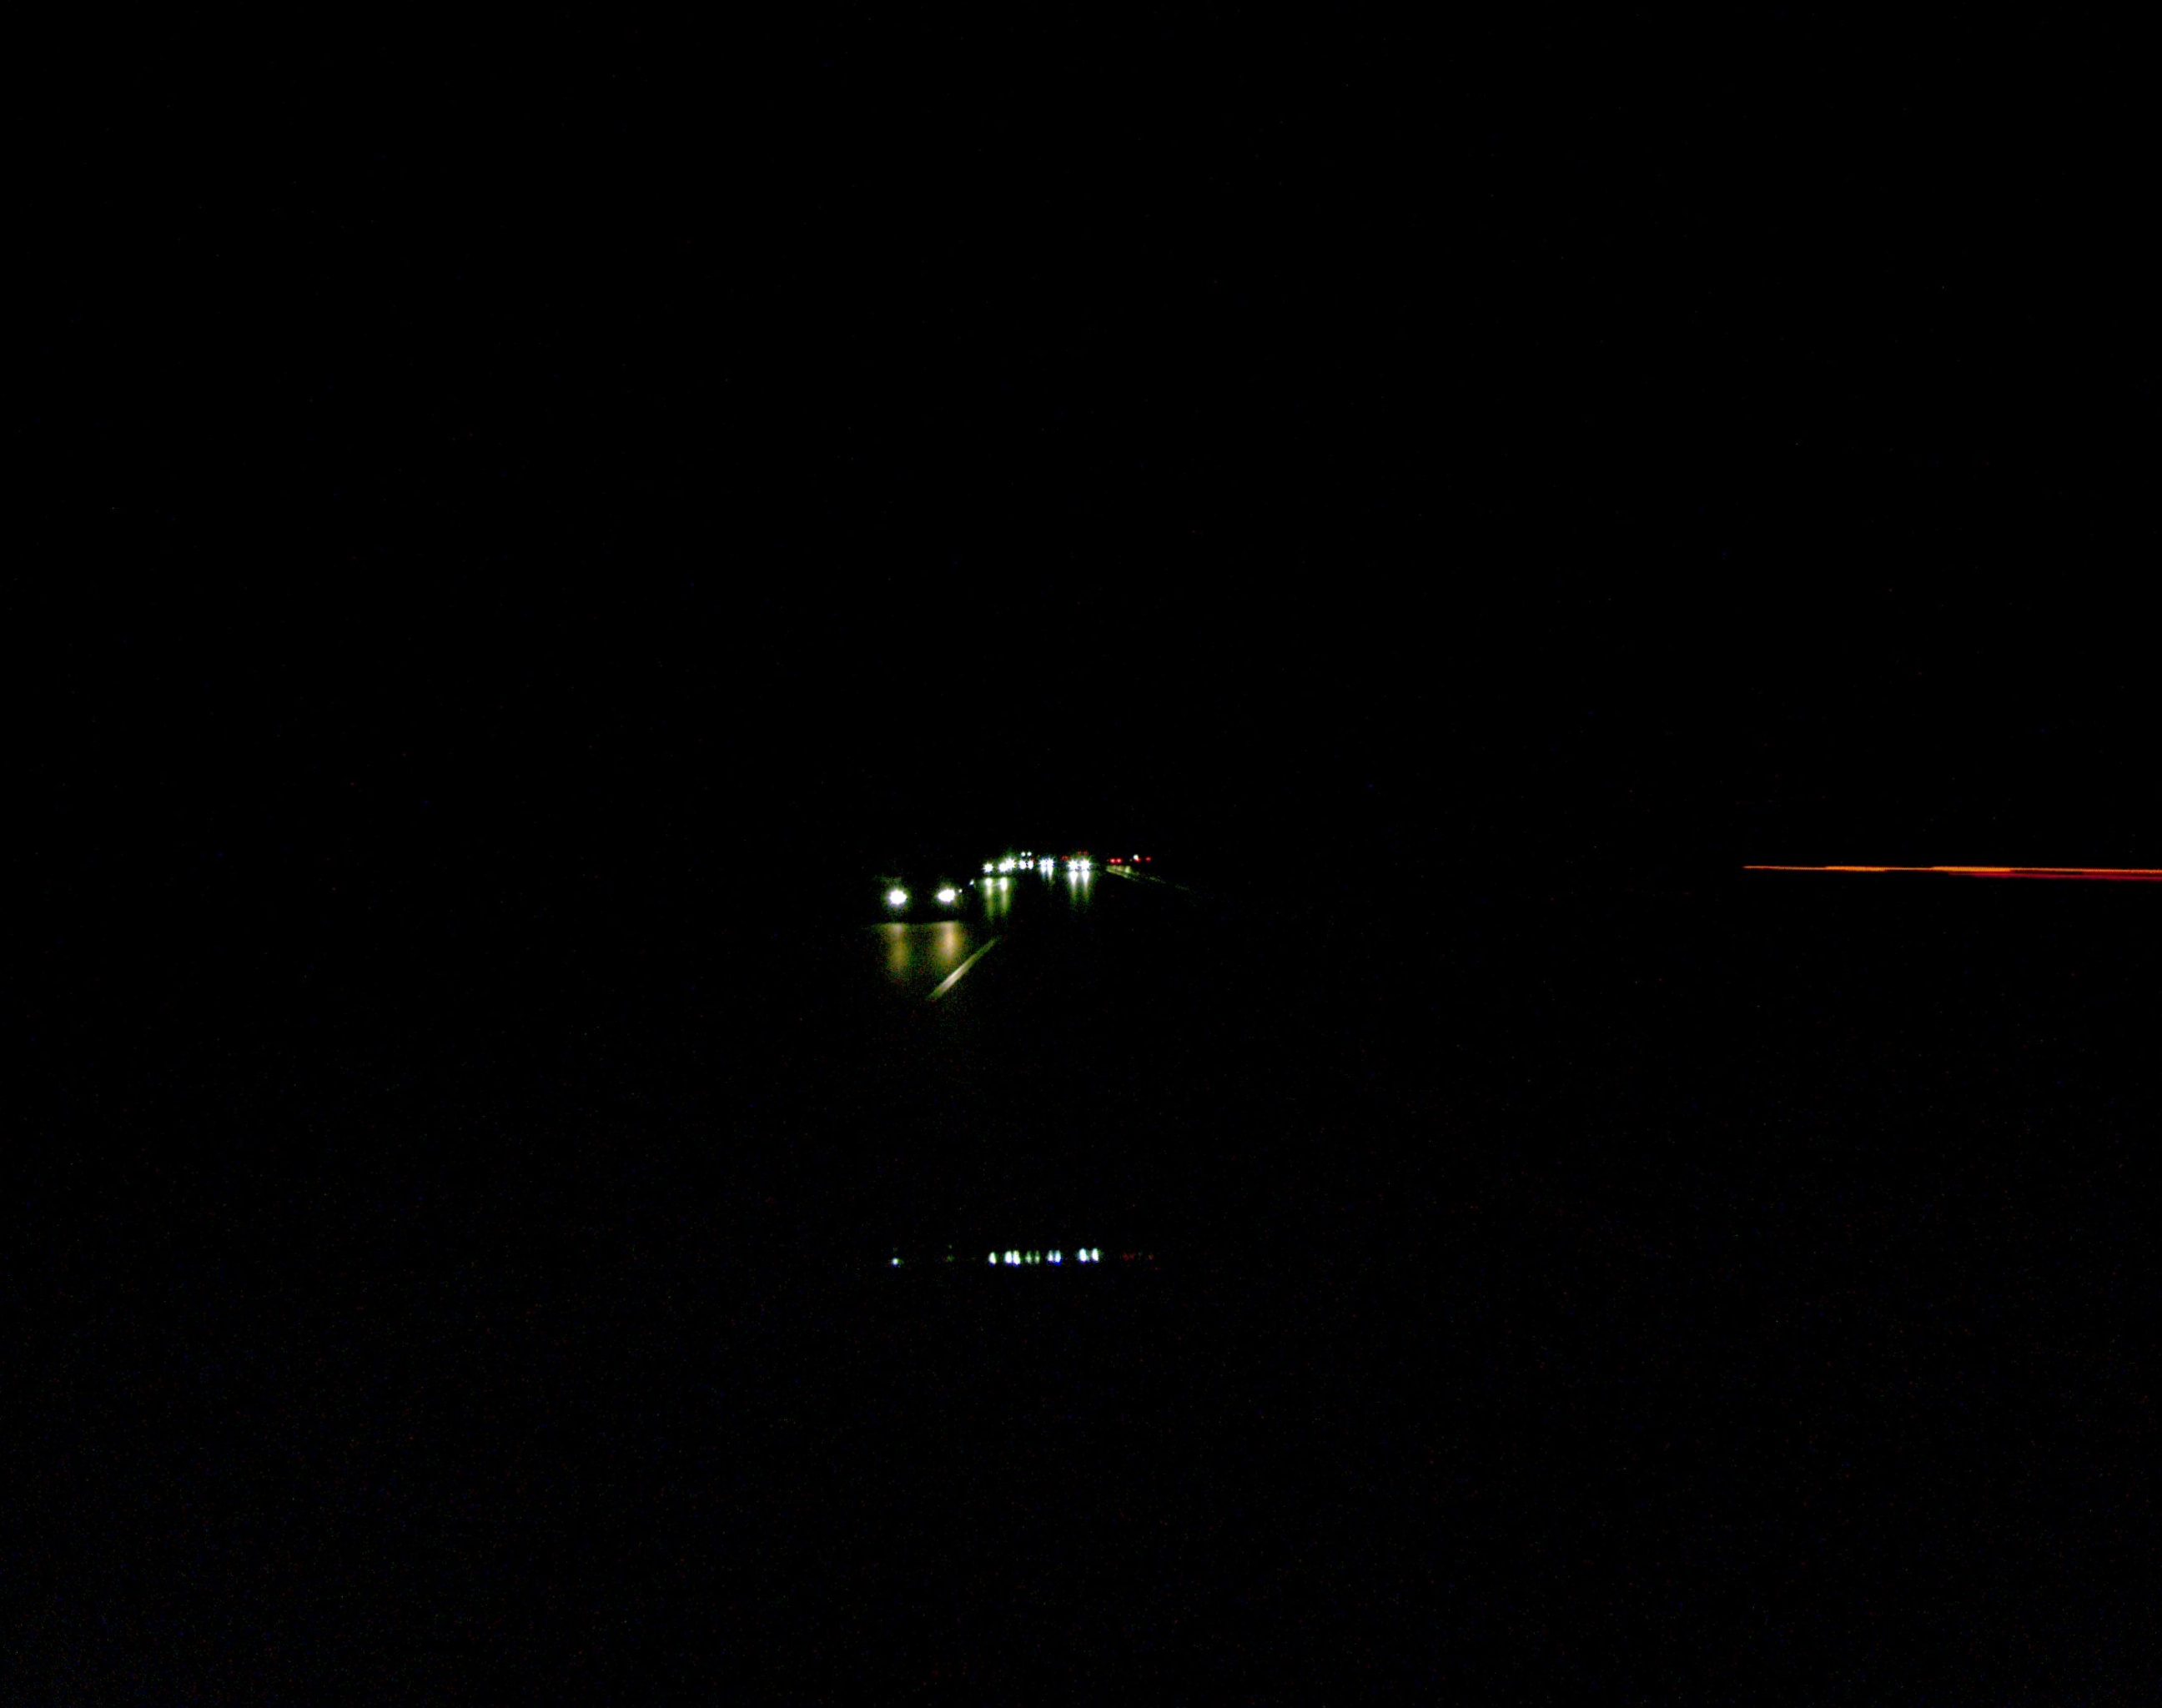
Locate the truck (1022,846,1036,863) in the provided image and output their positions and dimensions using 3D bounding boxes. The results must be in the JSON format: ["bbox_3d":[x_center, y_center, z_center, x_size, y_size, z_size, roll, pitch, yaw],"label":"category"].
[{"bbox_3d":[-14.106,0.028,206.645,3.348,4.407,6.989,-3,0,-6],"label":"truck"}]

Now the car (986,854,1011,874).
[{"bbox_3d":[-7.701,0.958,71.288,1.999,1.707,5.166,-2,0,-3],"label":"car"}]

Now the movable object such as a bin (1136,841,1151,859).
[{"bbox_3d":[12.698,-0.764,155.218,2.213,3.397,7.436,-2,0,-1],"label":"movable object such as a bin"}]

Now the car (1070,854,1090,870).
[{"bbox_3d":[-0.101,0.908,87.440,2.011,1.652,4.001,-2,0,2],"label":"car"}]

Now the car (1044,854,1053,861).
[{"bbox_3d":[-7.068,0.762,166.317,1.940,1.608,3.999,-2,0,-3],"label":"car"}]

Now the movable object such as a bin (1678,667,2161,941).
[{"bbox_3d":[15.398,-0.716,14.285,2.299,3.747,7.685,-1,0,0],"label":"movable object such as a bin"}]

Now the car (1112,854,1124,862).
[{"bbox_3d":[7.411,0.821,152.576,1.938,1.444,4.453,-2,0,-1],"label":"car"}]

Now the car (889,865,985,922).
[{"bbox_3d":[-4.103,1.072,22.565,1.839,1.393,5.069,-2,0,0],"label":"car"}]
